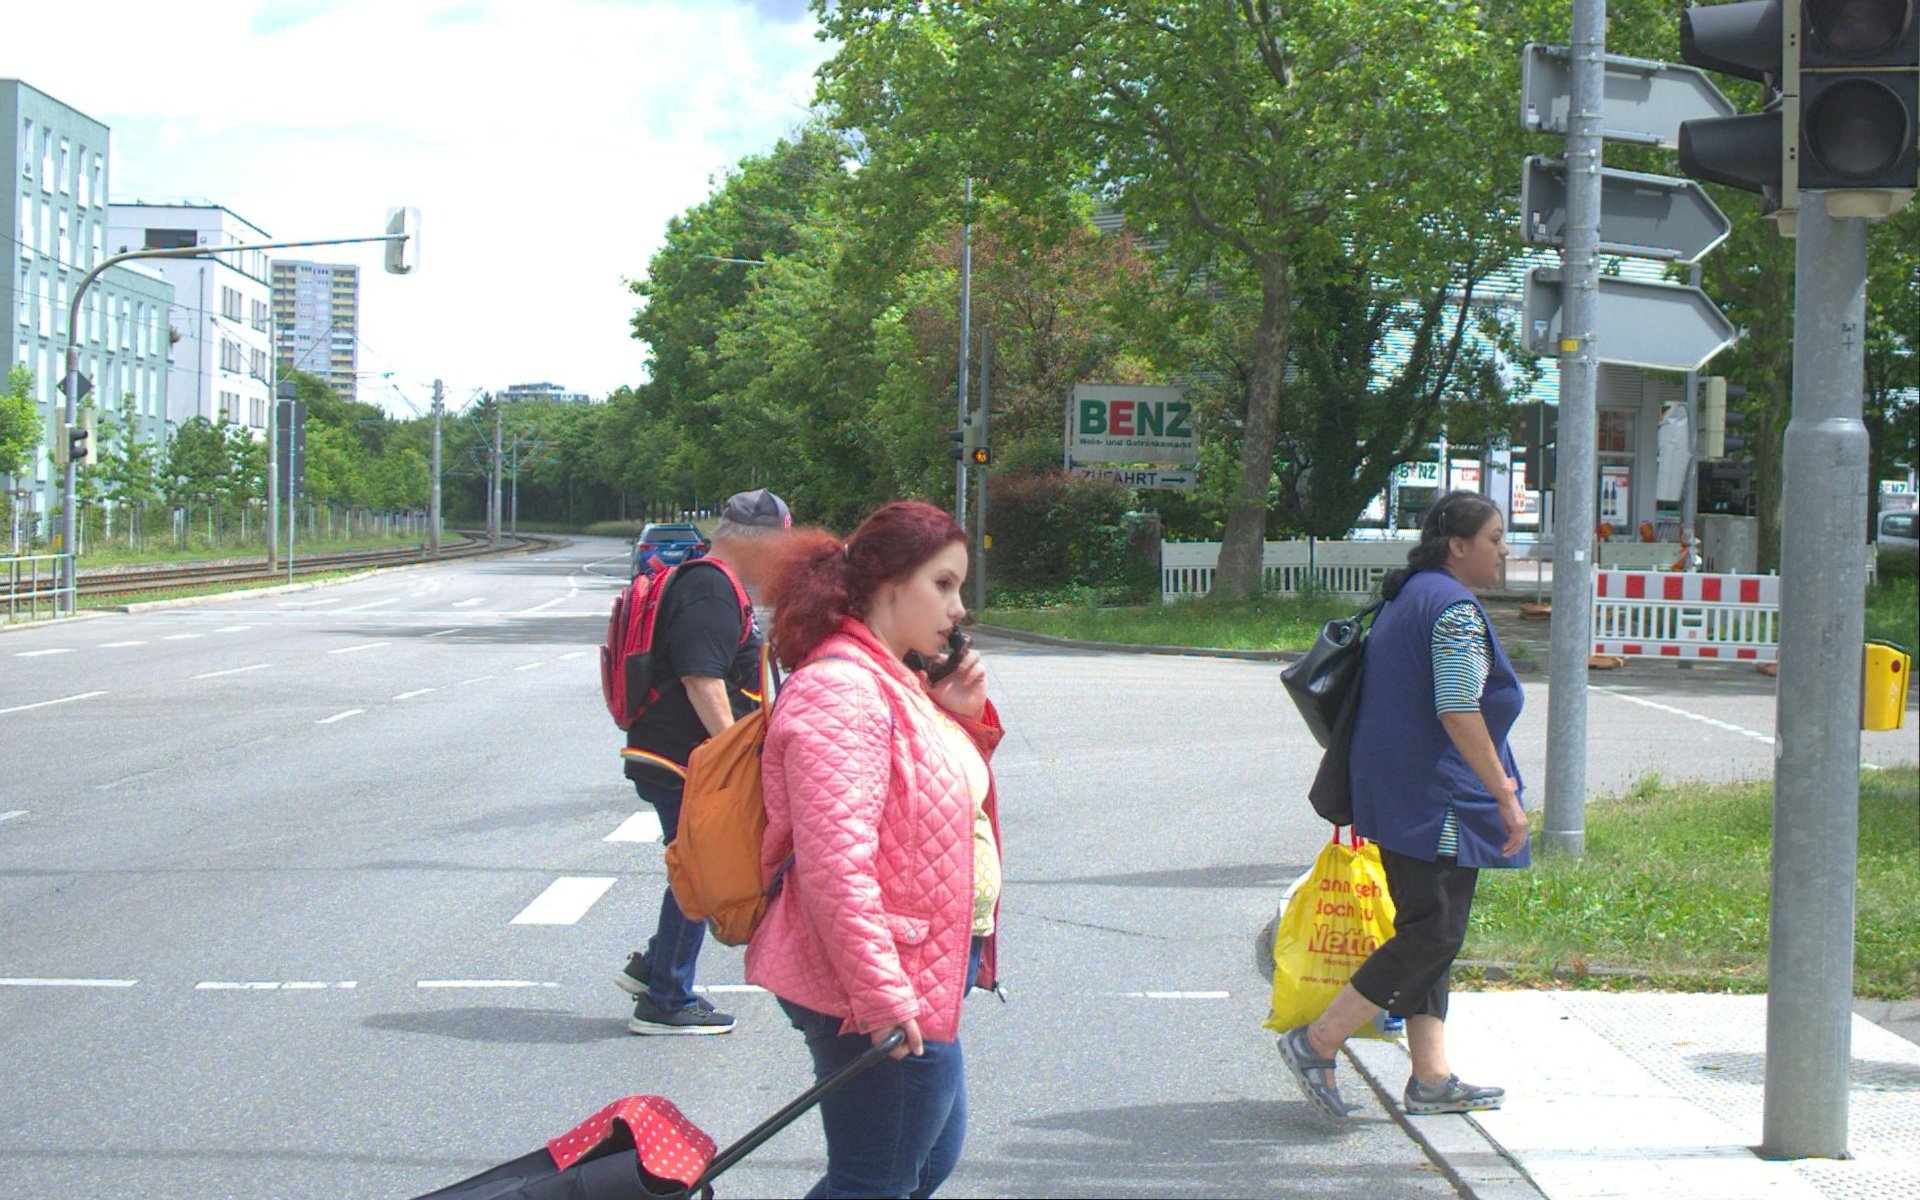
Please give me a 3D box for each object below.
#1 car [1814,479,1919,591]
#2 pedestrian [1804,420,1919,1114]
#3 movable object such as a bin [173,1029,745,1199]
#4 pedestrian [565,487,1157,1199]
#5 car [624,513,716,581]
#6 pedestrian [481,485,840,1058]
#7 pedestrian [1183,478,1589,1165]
[{"bbox_3d":[17.742,-1.183,62.563,1.993,2.007,4.000,0,2,-32],"label":"car"},{"bbox_3d":[2.888,0.419,9.198,1.002,1.767,0.929,1,1,0],"label":"pedestrian"},{"bbox_3d":[-0.765,1.071,5.461,0.795,0.659,0.778,1,1,0],"label":"movable object such as a bin"},{"bbox_3d":[-0.153,0.600,5.540,0.881,1.549,0.746,1,1,0],"label":"pedestrian"},{"bbox_3d":[-6.643,-1.236,78.452,1.982,1.481,4.492,0,1,-6],"label":"car"},{"bbox_3d":[-0.857,0.467,10.071,0.893,1.591,0.908,1,1,5],"label":"pedestrian"},{"bbox_3d":[1.086,0.507,8.598,0.913,1.601,0.929,1,1,12],"label":"pedestrian"}]
